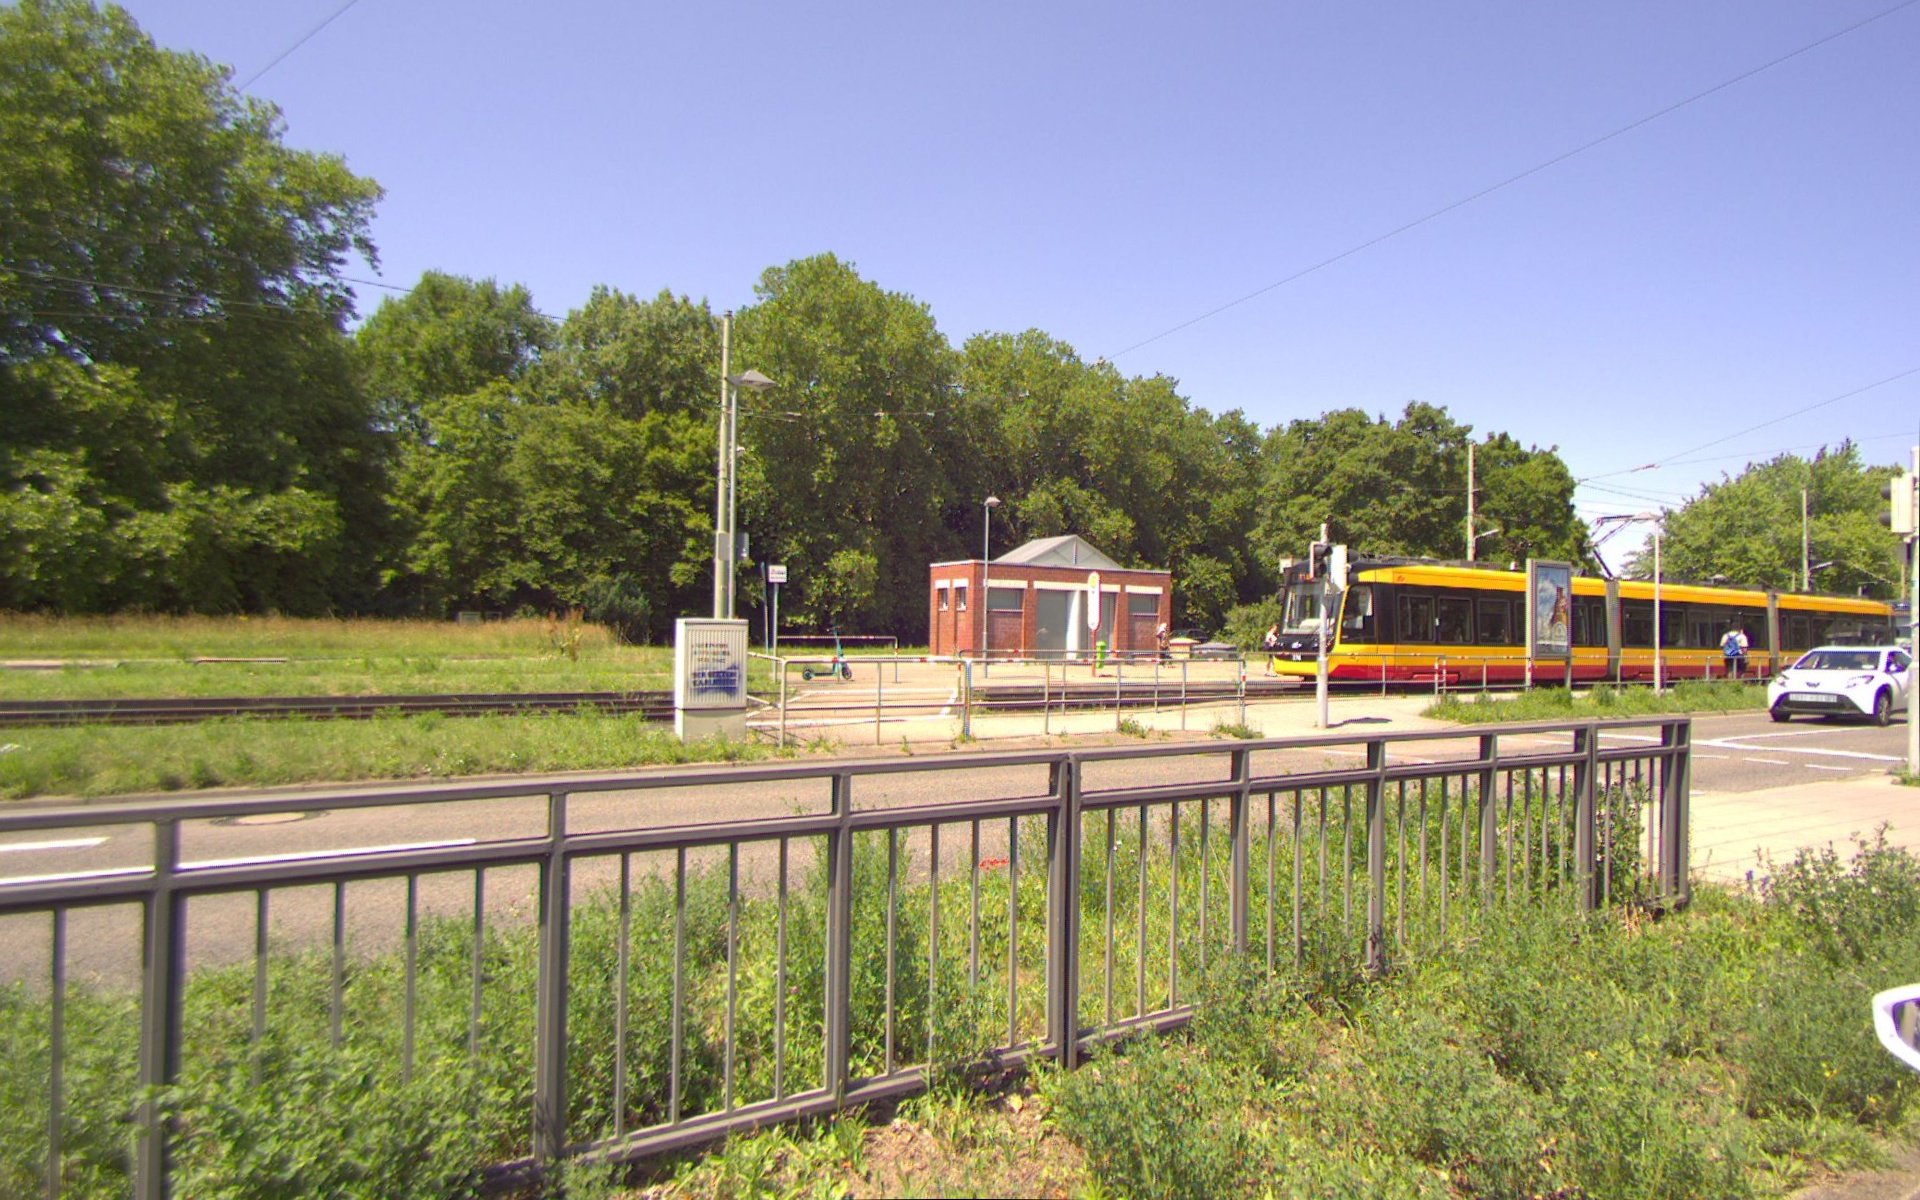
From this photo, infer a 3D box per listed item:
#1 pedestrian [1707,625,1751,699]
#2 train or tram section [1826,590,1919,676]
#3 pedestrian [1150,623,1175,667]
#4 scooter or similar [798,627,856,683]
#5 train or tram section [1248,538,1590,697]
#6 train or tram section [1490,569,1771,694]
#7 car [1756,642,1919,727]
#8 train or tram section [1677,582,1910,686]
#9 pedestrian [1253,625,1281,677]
[{"bbox_3d":[19.544,1.561,25.529,0.768,1.815,0.628,2,0,-32],"label":"pedestrian"},{"bbox_3d":[46.289,1.610,48.154,13.738,3.672,3.028,2,0,-31],"label":"train or tram section"},{"bbox_3d":[6.894,1.534,34.257,0.633,1.503,0.511,2,-1,-30],"label":"pedestrian"},{"bbox_3d":[-3.085,1.264,23.248,1.087,1.253,0.765,2,0,-30],"label":"scooter or similar"},{"bbox_3d":[13.510,0.580,28.937,11.407,3.907,2.935,2,0,-31],"label":"train or tram section"},{"bbox_3d":[23.669,1.119,35.080,12.449,3.791,3.029,2,0,-31],"label":"train or tram section"},{"bbox_3d":[17.797,1.636,20.149,3.679,1.524,1.760,2,-1,-32],"label":"car"},{"bbox_3d":[34.656,1.420,41.480,13.105,3.817,3.029,2,0,-30],"label":"train or tram section"},{"bbox_3d":[9.380,1.555,30.714,0.509,1.574,0.636,2,-1,-30],"label":"pedestrian"}]
